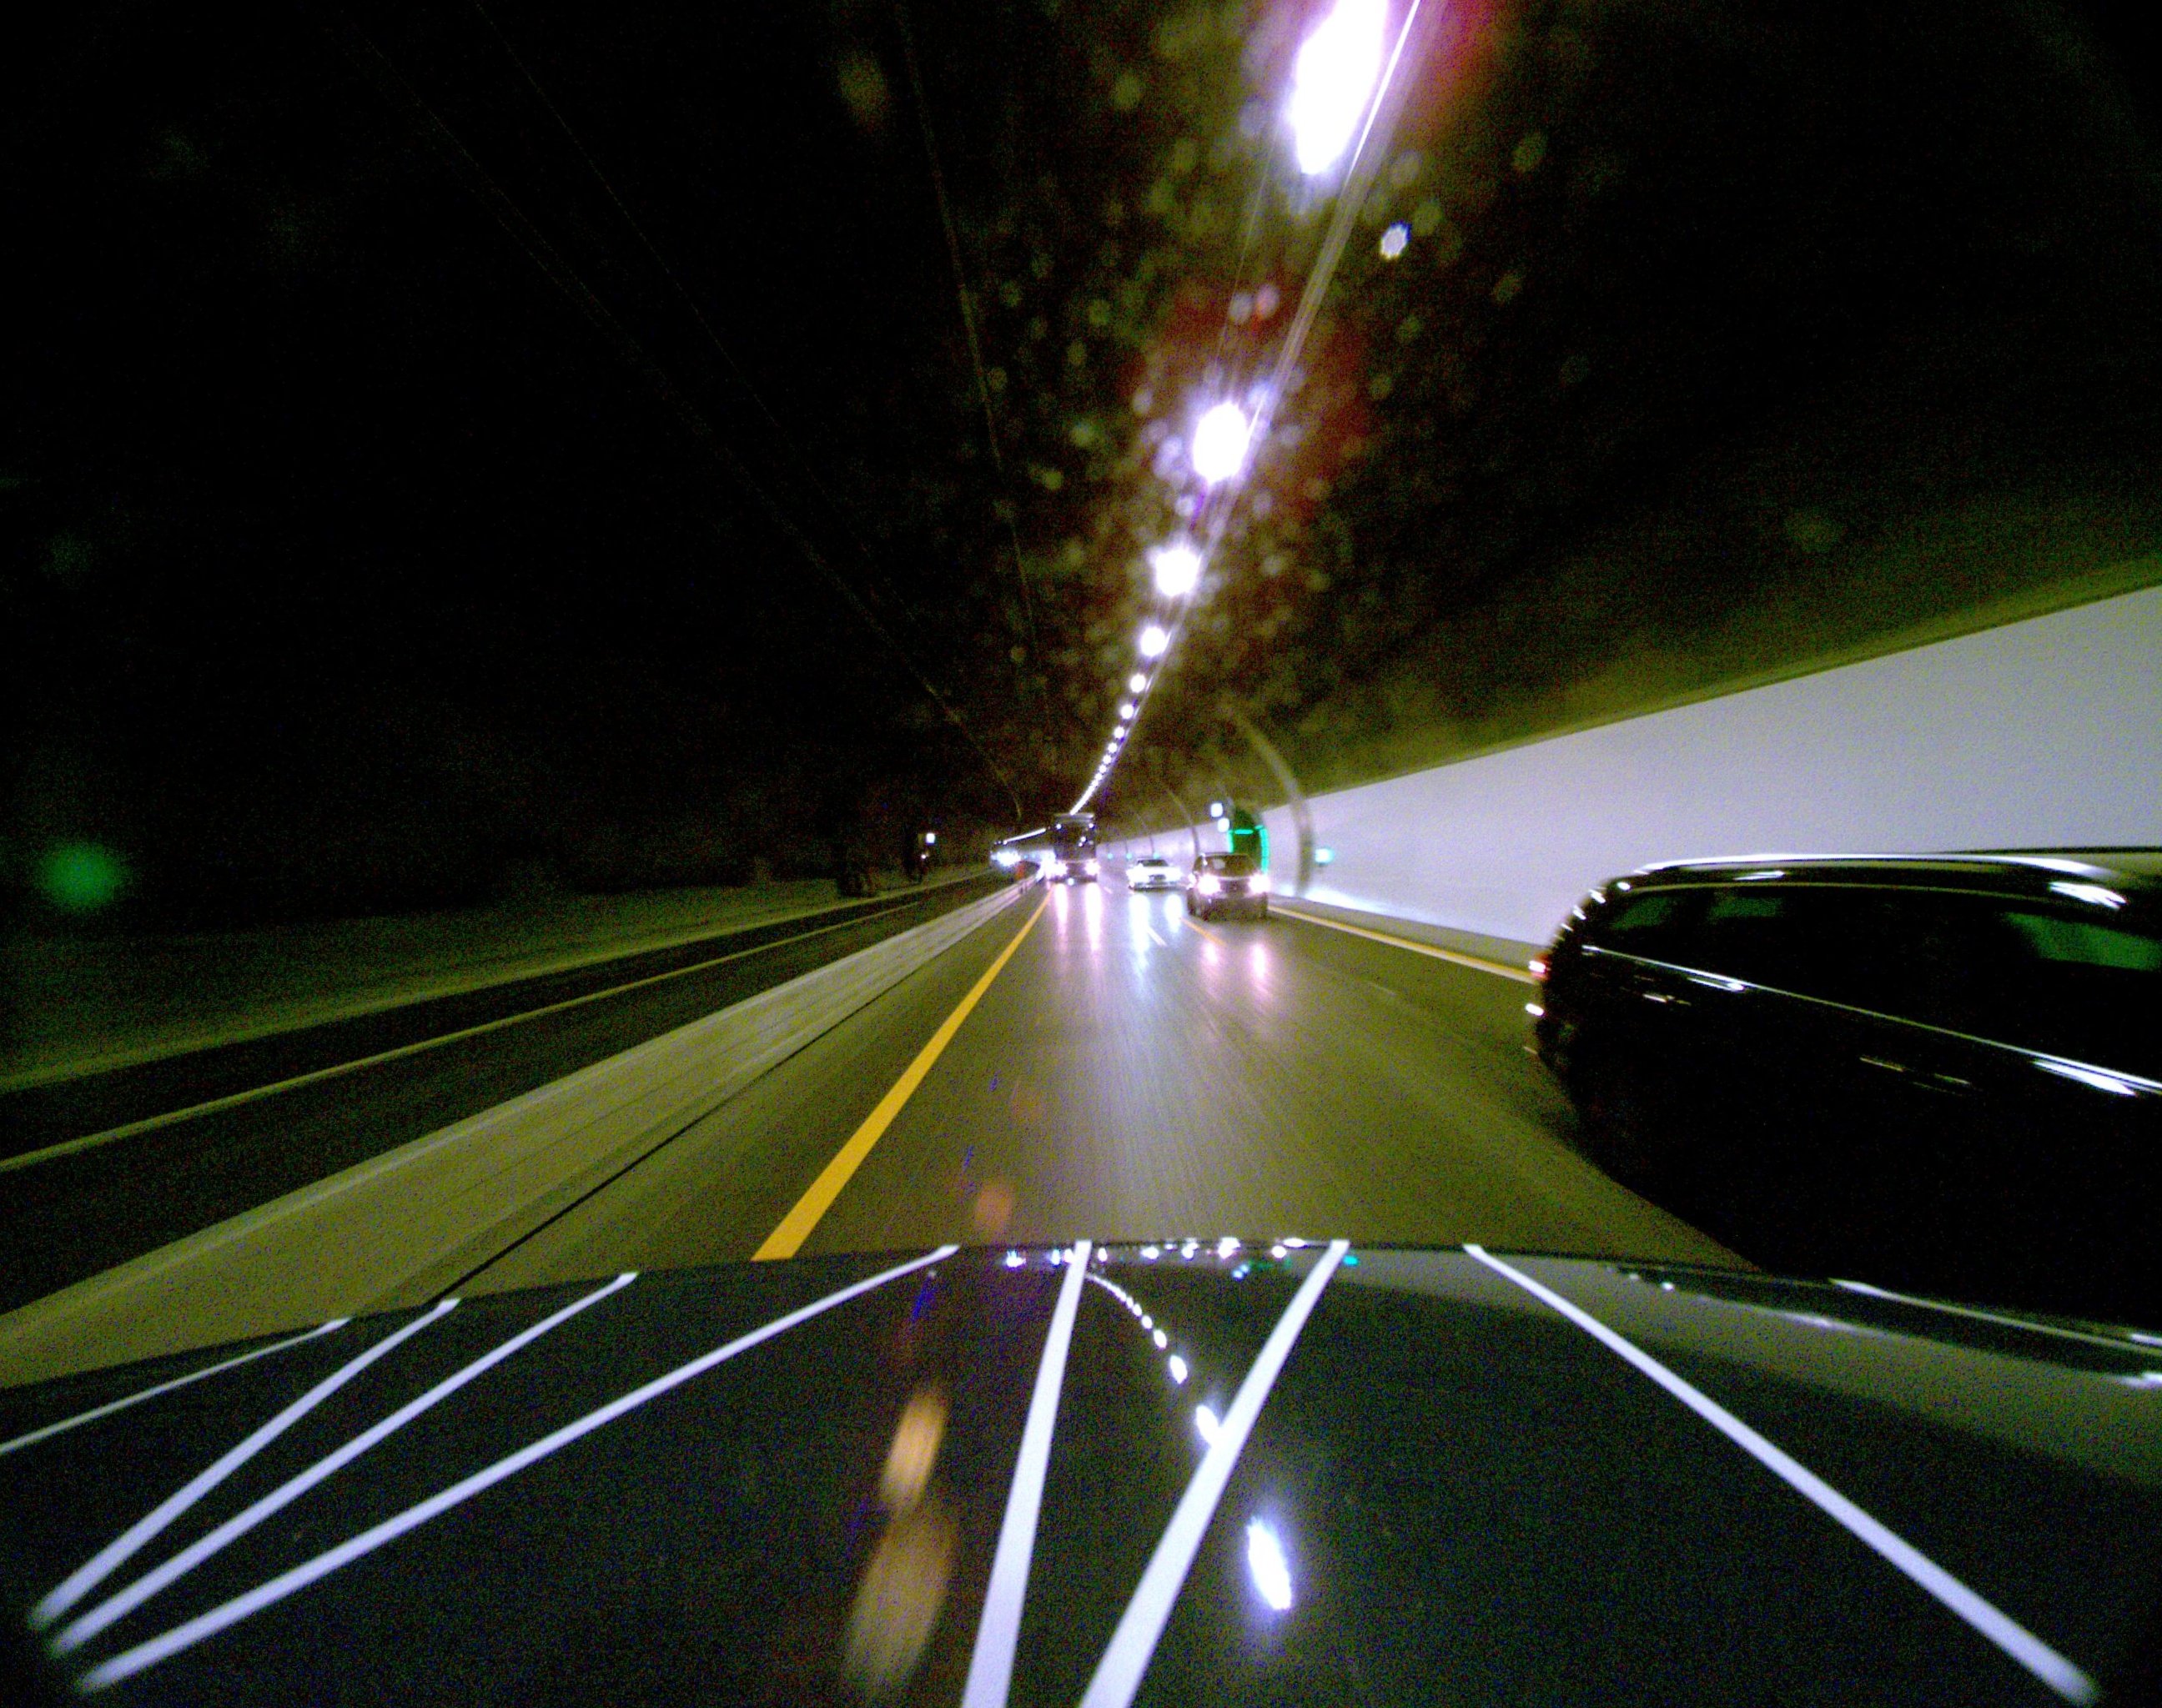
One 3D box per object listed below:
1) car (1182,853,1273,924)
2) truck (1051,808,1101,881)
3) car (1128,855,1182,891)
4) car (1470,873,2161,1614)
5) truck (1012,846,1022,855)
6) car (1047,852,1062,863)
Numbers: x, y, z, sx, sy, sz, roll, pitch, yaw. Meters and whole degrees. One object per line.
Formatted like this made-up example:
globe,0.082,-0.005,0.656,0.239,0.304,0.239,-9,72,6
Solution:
car,3.394,0.762,18.018,1.531,1.508,2.651,-2,0,-2
truck,-0.235,-0.558,47.935,2.742,4.127,8.100,-2,0,0
car,3.147,0.769,33.104,1.909,1.412,4.060,-2,0,0
car,3.163,0.867,1.963,1.782,1.430,4.882,-2,0,0
truck,-19.852,-1.047,236.328,2.611,2.723,6.393,-2,0,-8
car,-4.000,0.509,112.650,1.999,1.524,3.998,-2,0,-4
